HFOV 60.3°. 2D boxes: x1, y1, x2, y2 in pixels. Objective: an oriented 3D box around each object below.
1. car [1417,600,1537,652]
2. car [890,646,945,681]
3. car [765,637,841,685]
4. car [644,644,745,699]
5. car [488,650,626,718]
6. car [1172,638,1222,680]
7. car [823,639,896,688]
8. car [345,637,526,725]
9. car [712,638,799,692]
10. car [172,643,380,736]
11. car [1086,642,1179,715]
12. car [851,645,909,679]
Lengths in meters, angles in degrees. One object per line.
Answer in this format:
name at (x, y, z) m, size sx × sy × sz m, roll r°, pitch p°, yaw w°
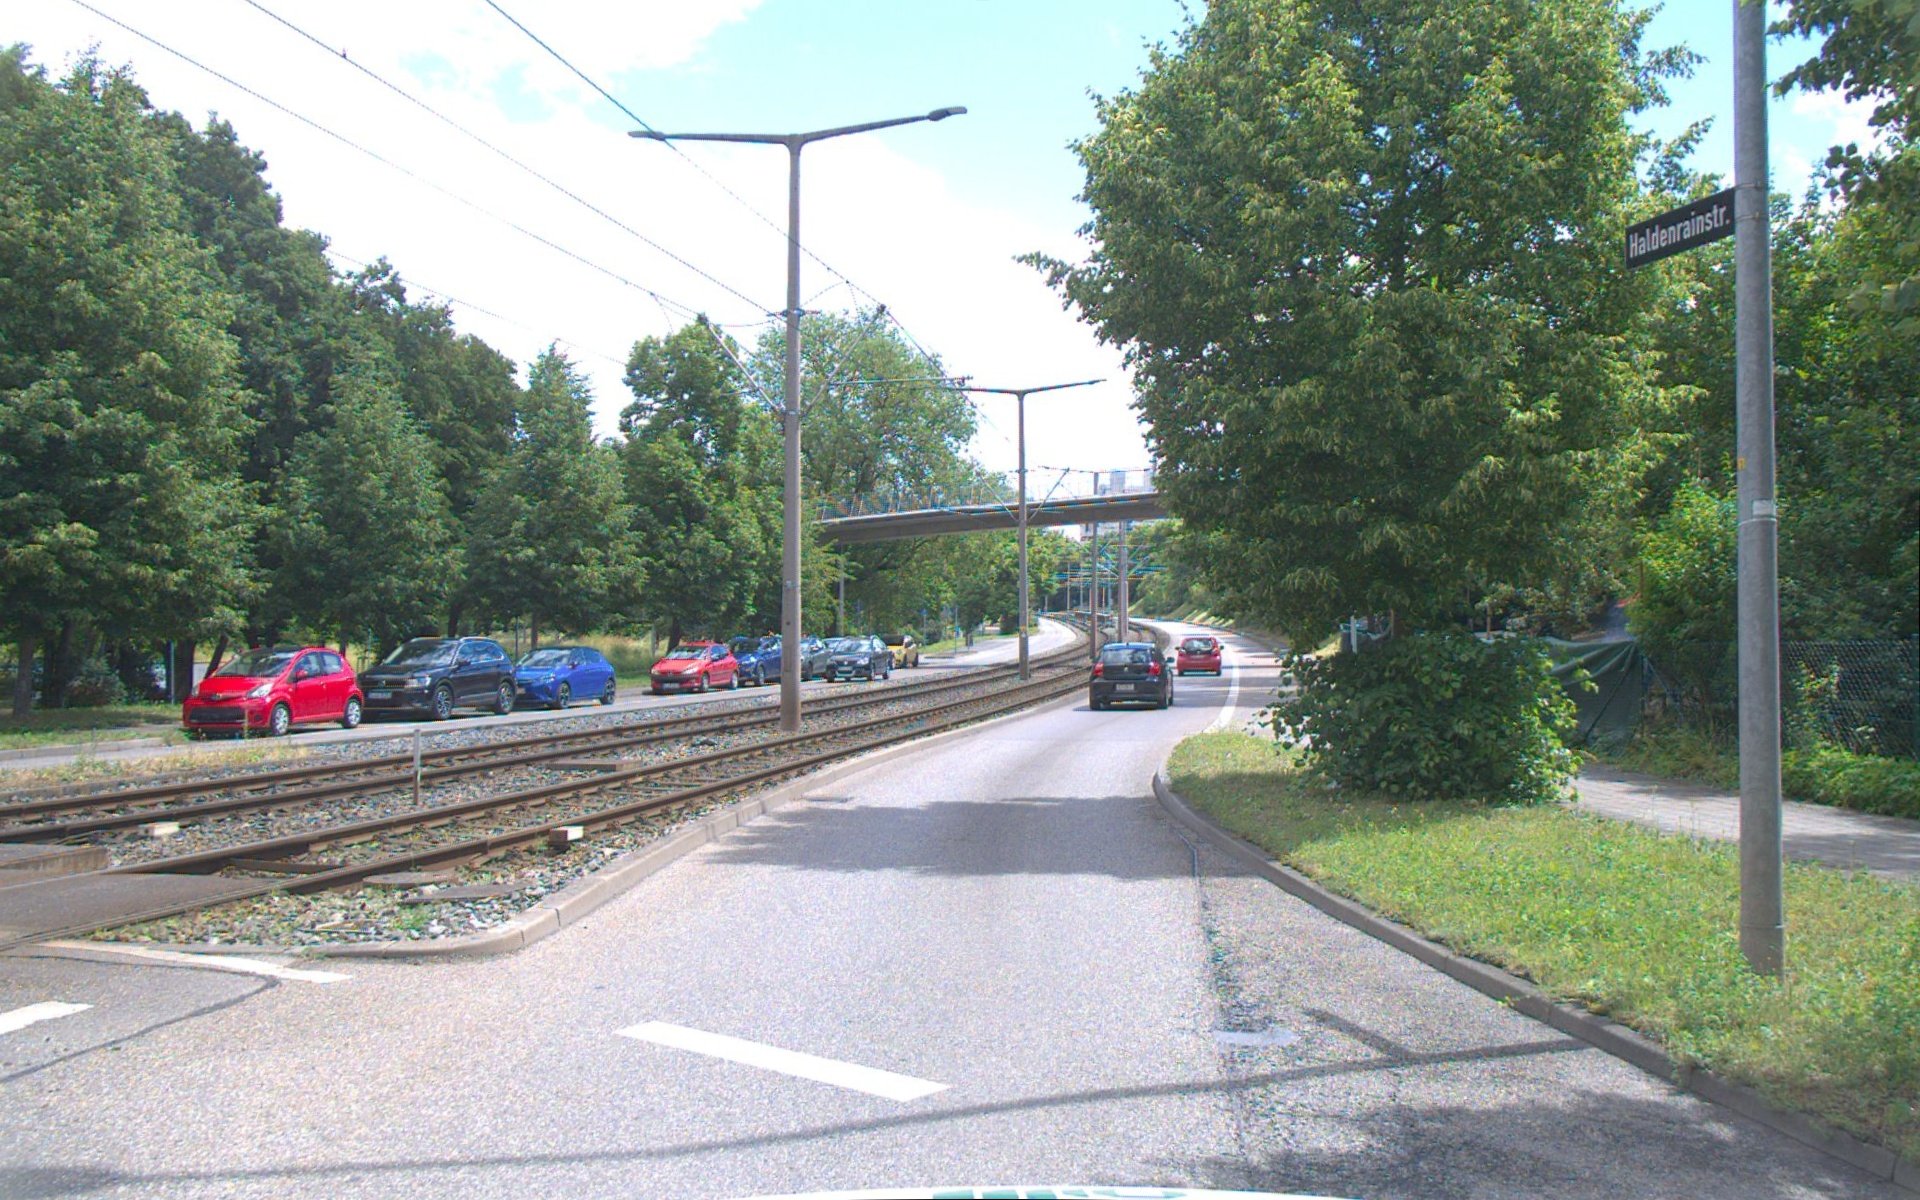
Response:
car at (21.106, 1.089, 67.661) m, size 4.429 × 1.701 × 2.001 m, roll -5°, pitch -4°, yaw 13°
car at (-1.902, 2.898, 75.157) m, size 1.653 × 1.476 × 3.901 m, roll 1°, pitch -3°, yaw 11°
car at (-5.628, 2.178, 59.644) m, size 1.607 × 1.651 × 4.128 m, roll -1°, pitch -2°, yaw 11°
car at (-7.839, 2.165, 49.178) m, size 1.578 × 1.520 × 4.050 m, roll 1°, pitch -3°, yaw 11°
car at (-9.502, 1.996, 39.278) m, size 1.578 × 1.487 × 4.010 m, roll 1°, pitch -3°, yaw 11°
car at (8.770, 2.197, 61.054) m, size 1.589 × 1.469 × 3.423 m, roll 1°, pitch -3°, yaw 11°
car at (-3.457, 2.230, 57.500) m, size 1.579 × 1.602 × 4.002 m, roll 1°, pitch -3°, yaw 11°
car at (-10.630, 1.679, 33.892) m, size 1.546 × 1.634 × 4.377 m, roll 1°, pitch -3°, yaw 11°
car at (-6.647, 2.159, 54.076) m, size 1.524 × 1.624 × 4.162 m, roll 1°, pitch -3°, yaw 11°
car at (-11.787, 1.556, 28.754) m, size 1.578 × 1.477 × 3.664 m, roll 1°, pitch -3°, yaw 9°
car at (3.884, 1.717, 36.761) m, size 1.672 × 1.486 × 3.963 m, roll 1°, pitch -2°, yaw 11°
car at (-3.357, 2.614, 70.099) m, size 1.479 × 1.384 × 4.131 m, roll -1°, pitch -2°, yaw 11°
